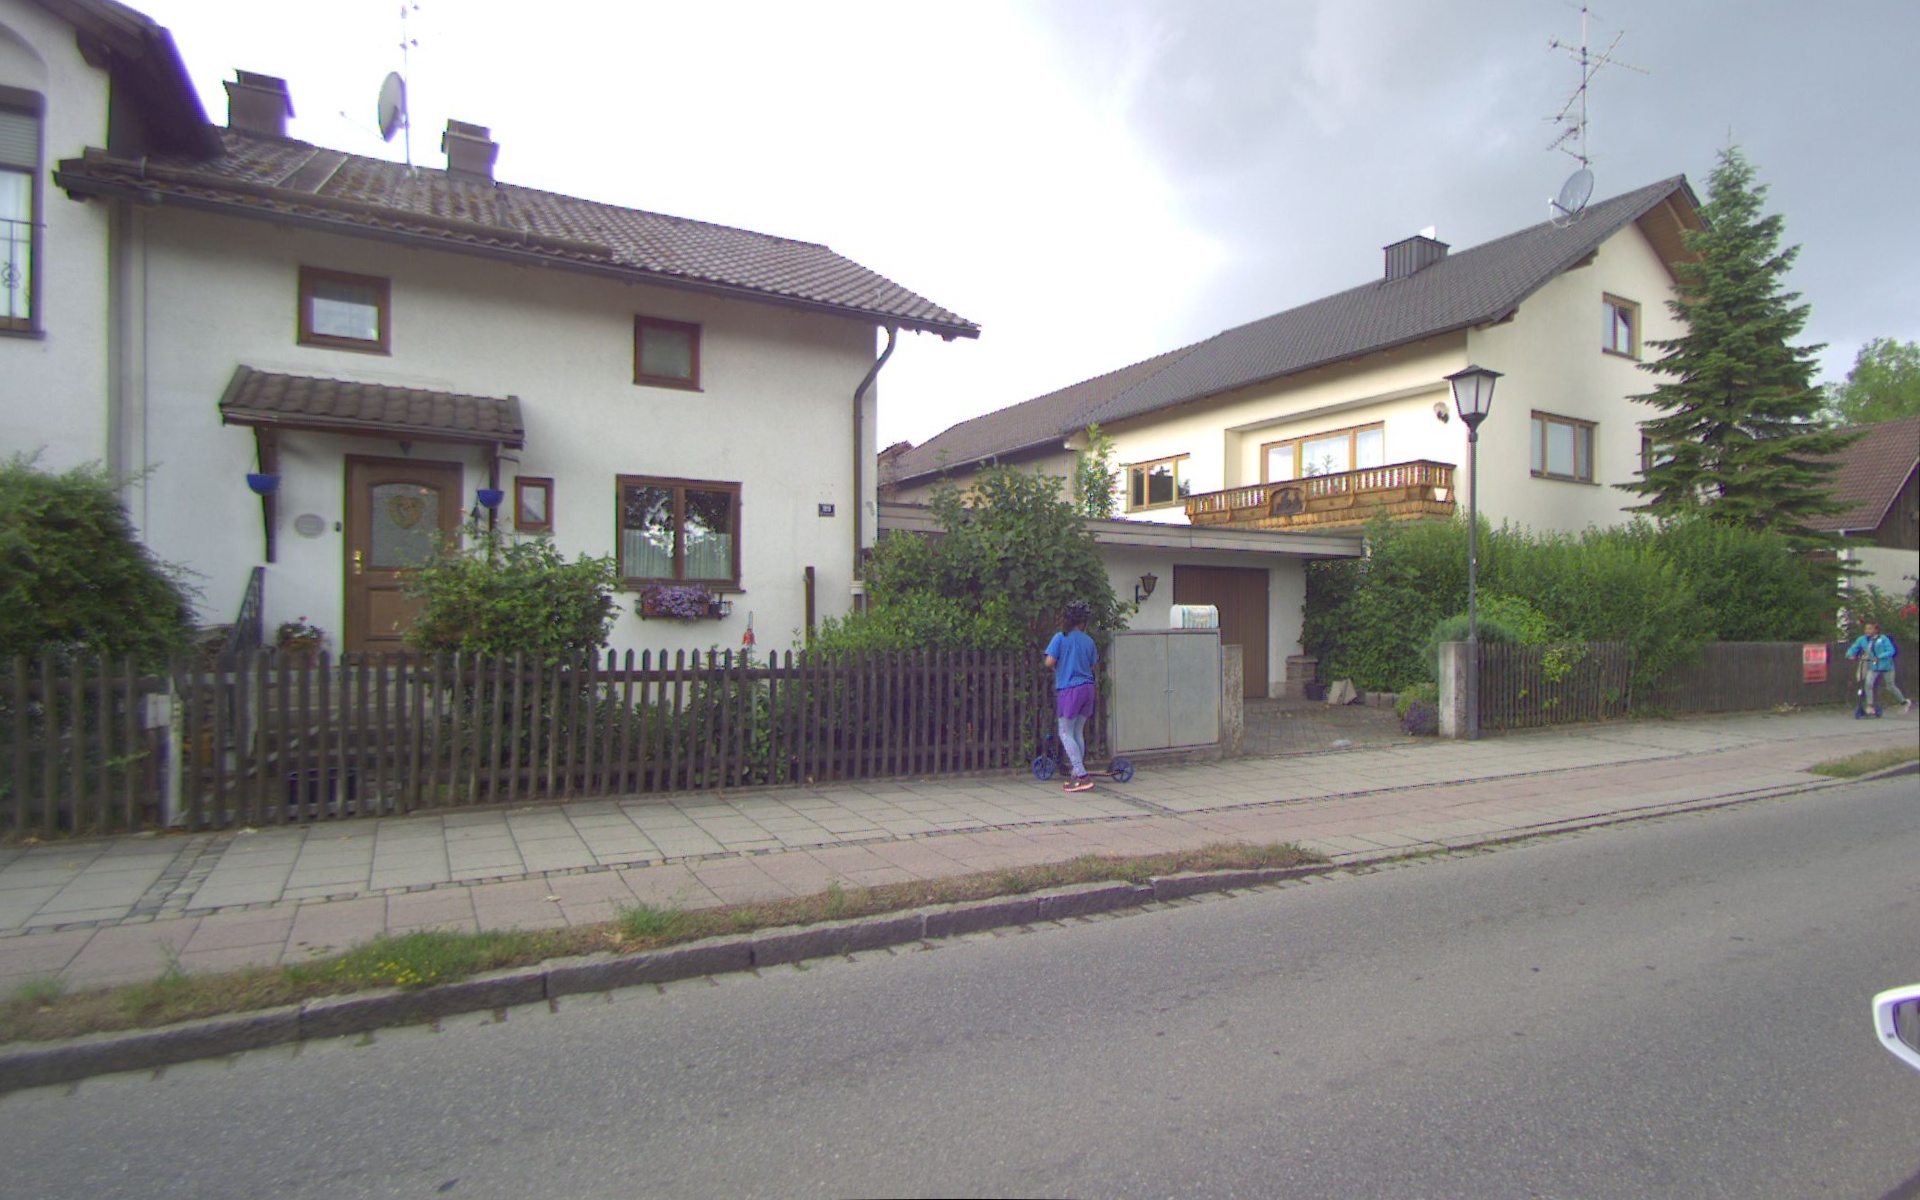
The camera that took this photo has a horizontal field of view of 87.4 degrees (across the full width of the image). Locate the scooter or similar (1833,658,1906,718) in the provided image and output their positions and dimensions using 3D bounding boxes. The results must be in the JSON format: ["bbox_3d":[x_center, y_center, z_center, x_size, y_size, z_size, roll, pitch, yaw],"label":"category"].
[{"bbox_3d":[13.885,1.331,15.327,1.049,0.861,0.519,1,0,-29],"label":"scooter or similar"}]

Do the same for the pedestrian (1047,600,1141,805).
[{"bbox_3d":[1.056,0.781,7.940,0.528,1.549,0.484,1,0,-30],"label":"pedestrian"}]

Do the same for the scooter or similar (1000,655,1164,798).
[{"bbox_3d":[0.997,0.996,8.220,1.164,1.051,0.658,1,-1,-29],"label":"scooter or similar"}]

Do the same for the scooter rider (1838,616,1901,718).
[{"bbox_3d":[13.849,1.005,15.301,0.707,1.509,0.500,1,0,-29],"label":"scooter rider"}]
